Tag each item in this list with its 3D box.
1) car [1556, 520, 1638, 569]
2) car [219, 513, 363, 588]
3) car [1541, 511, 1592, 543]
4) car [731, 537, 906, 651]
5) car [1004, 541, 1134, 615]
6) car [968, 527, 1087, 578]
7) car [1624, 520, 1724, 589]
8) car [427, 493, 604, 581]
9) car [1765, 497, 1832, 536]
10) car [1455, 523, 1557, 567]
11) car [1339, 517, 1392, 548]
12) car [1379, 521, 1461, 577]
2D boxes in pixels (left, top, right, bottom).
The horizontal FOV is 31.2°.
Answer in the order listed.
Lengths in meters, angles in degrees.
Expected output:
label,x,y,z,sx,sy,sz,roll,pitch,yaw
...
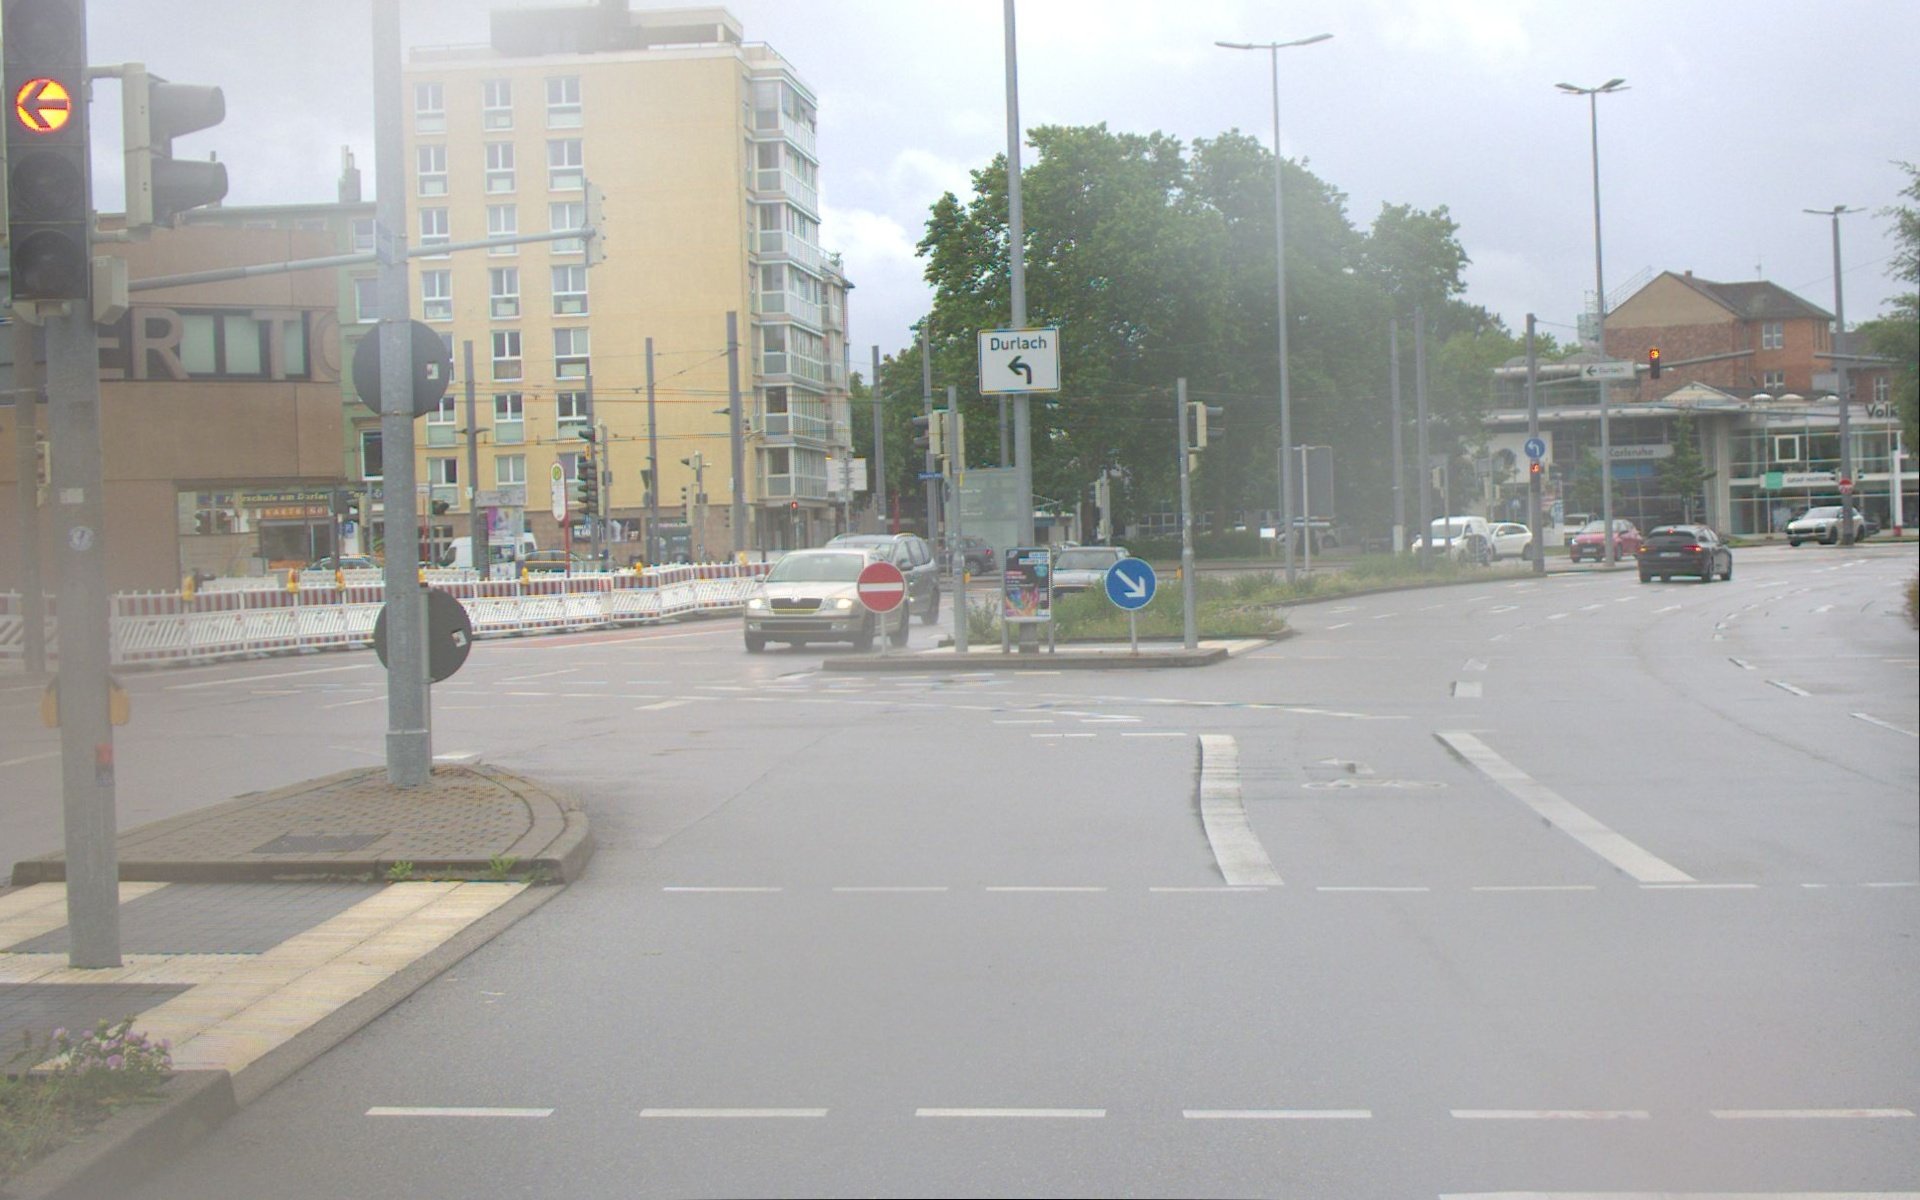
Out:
label,x,y,z,sx,sy,sz,roll,pitch,yaw
car,22.827,-1.989,123.111,1.792,1.637,4.041,-1,1,27
car,-27.612,-2.051,142.099,5.351,2.877,2.339,-2,1,2
car,32.912,-3.975,186.483,1.792,1.637,4.154,-1,1,23
car,-1.974,-0.111,49.122,1.694,1.410,4.182,-2,2,9
car,2.241,-0.462,69.328,1.773,1.371,4.118,-1,1,14
car,2.599,-1.833,132.548,4.145,1.851,1.796,-2,1,-24
car,18.051,-1.162,86.818,1.792,1.637,4.155,-1,1,21
car,-18.242,-2.613,141.455,6.742,3.368,2.809,-2,1,2
car,36.822,-3.682,150.950,1.793,1.637,4.153,-1,1,29
car,21.977,-2.207,138.222,1.795,1.637,4.385,0,2,45
car,22.517,-3.747,190.791,1.792,1.637,4.154,-1,1,23
car,15.930,-1.777,118.928,1.792,1.851,4.155,-1,1,22
